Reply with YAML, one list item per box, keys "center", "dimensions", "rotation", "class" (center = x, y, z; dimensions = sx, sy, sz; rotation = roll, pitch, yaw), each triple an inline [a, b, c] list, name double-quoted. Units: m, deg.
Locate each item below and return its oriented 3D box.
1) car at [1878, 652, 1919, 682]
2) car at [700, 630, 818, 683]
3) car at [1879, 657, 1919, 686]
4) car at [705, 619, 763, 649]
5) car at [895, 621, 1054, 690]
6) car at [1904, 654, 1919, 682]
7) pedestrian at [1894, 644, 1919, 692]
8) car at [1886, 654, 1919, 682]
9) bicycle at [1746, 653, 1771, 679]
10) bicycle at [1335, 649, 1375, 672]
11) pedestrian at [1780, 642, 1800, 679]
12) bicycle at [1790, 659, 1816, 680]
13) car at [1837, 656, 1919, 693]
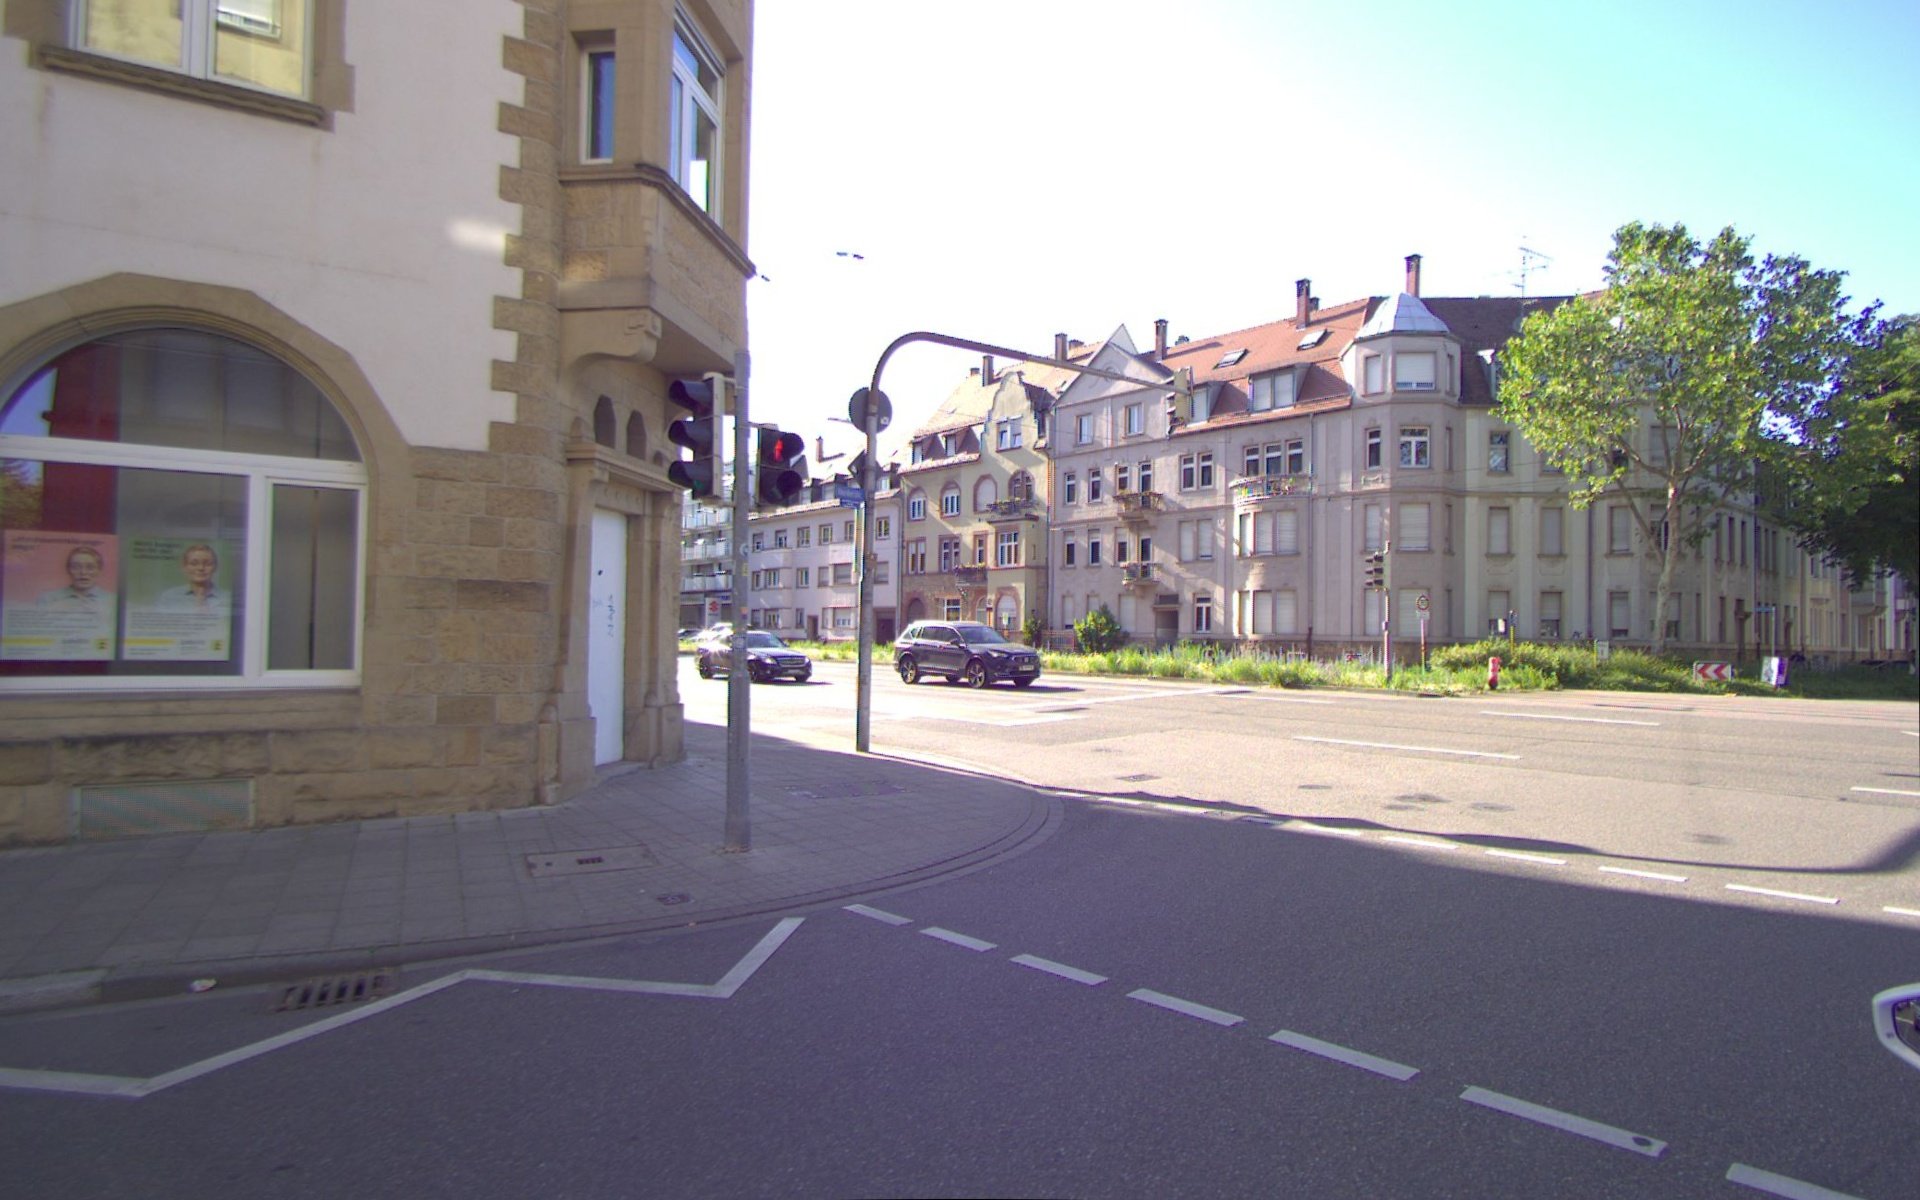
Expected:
- center: [49.829, 3.512, 51.813]
  dimensions: [1.688, 1.471, 3.409]
  rotation: [4, -2, -37]
  class: "car"
- center: [-5.865, 1.584, 29.059]
  dimensions: [1.752, 1.407, 3.852]
  rotation: [1, -2, -40]
  class: "car"
- center: [48.576, 3.633, 49.873]
  dimensions: [1.689, 1.366, 4.178]
  rotation: [4, -2, -39]
  class: "car"
- center: [-14.807, 2.210, 65.725]
  dimensions: [1.971, 1.860, 4.065]
  rotation: [3, -3, -41]
  class: "car"
- center: [0.298, 1.389, 26.547]
  dimensions: [1.984, 1.666, 4.192]
  rotation: [0, -1, -40]
  class: "car"
- center: [52.322, 3.648, 52.638]
  dimensions: [1.769, 1.502, 3.957]
  rotation: [3, -2, -38]
  class: "car"
- center: [34.960, 2.500, 36.958]
  dimensions: [0.672, 1.704, 0.691]
  rotation: [2, -2, -29]
  class: "pedestrian"
- center: [55.202, 3.859, 56.774]
  dimensions: [1.707, 1.527, 3.957]
  rotation: [3, -3, -38]
  class: "car"
- center: [37.751, 3.096, 47.471]
  dimensions: [1.966, 1.169, 0.509]
  rotation: [2, 1, -40]
  class: "bicycle"
- center: [16.071, 2.458, 40.869]
  dimensions: [0.494, 0.917, 1.420]
  rotation: [3, -2, -43]
  class: "bicycle"
- center: [38.228, 2.805, 46.265]
  dimensions: [0.884, 1.680, 0.457]
  rotation: [2, -2, -32]
  class: "pedestrian"
- center: [38.512, 3.168, 45.886]
  dimensions: [1.579, 0.923, 0.469]
  rotation: [3, -2, -33]
  class: "bicycle"
- center: [39.989, 3.151, 42.725]
  dimensions: [1.602, 1.495, 3.851]
  rotation: [3, -4, -39]
  class: "car"
